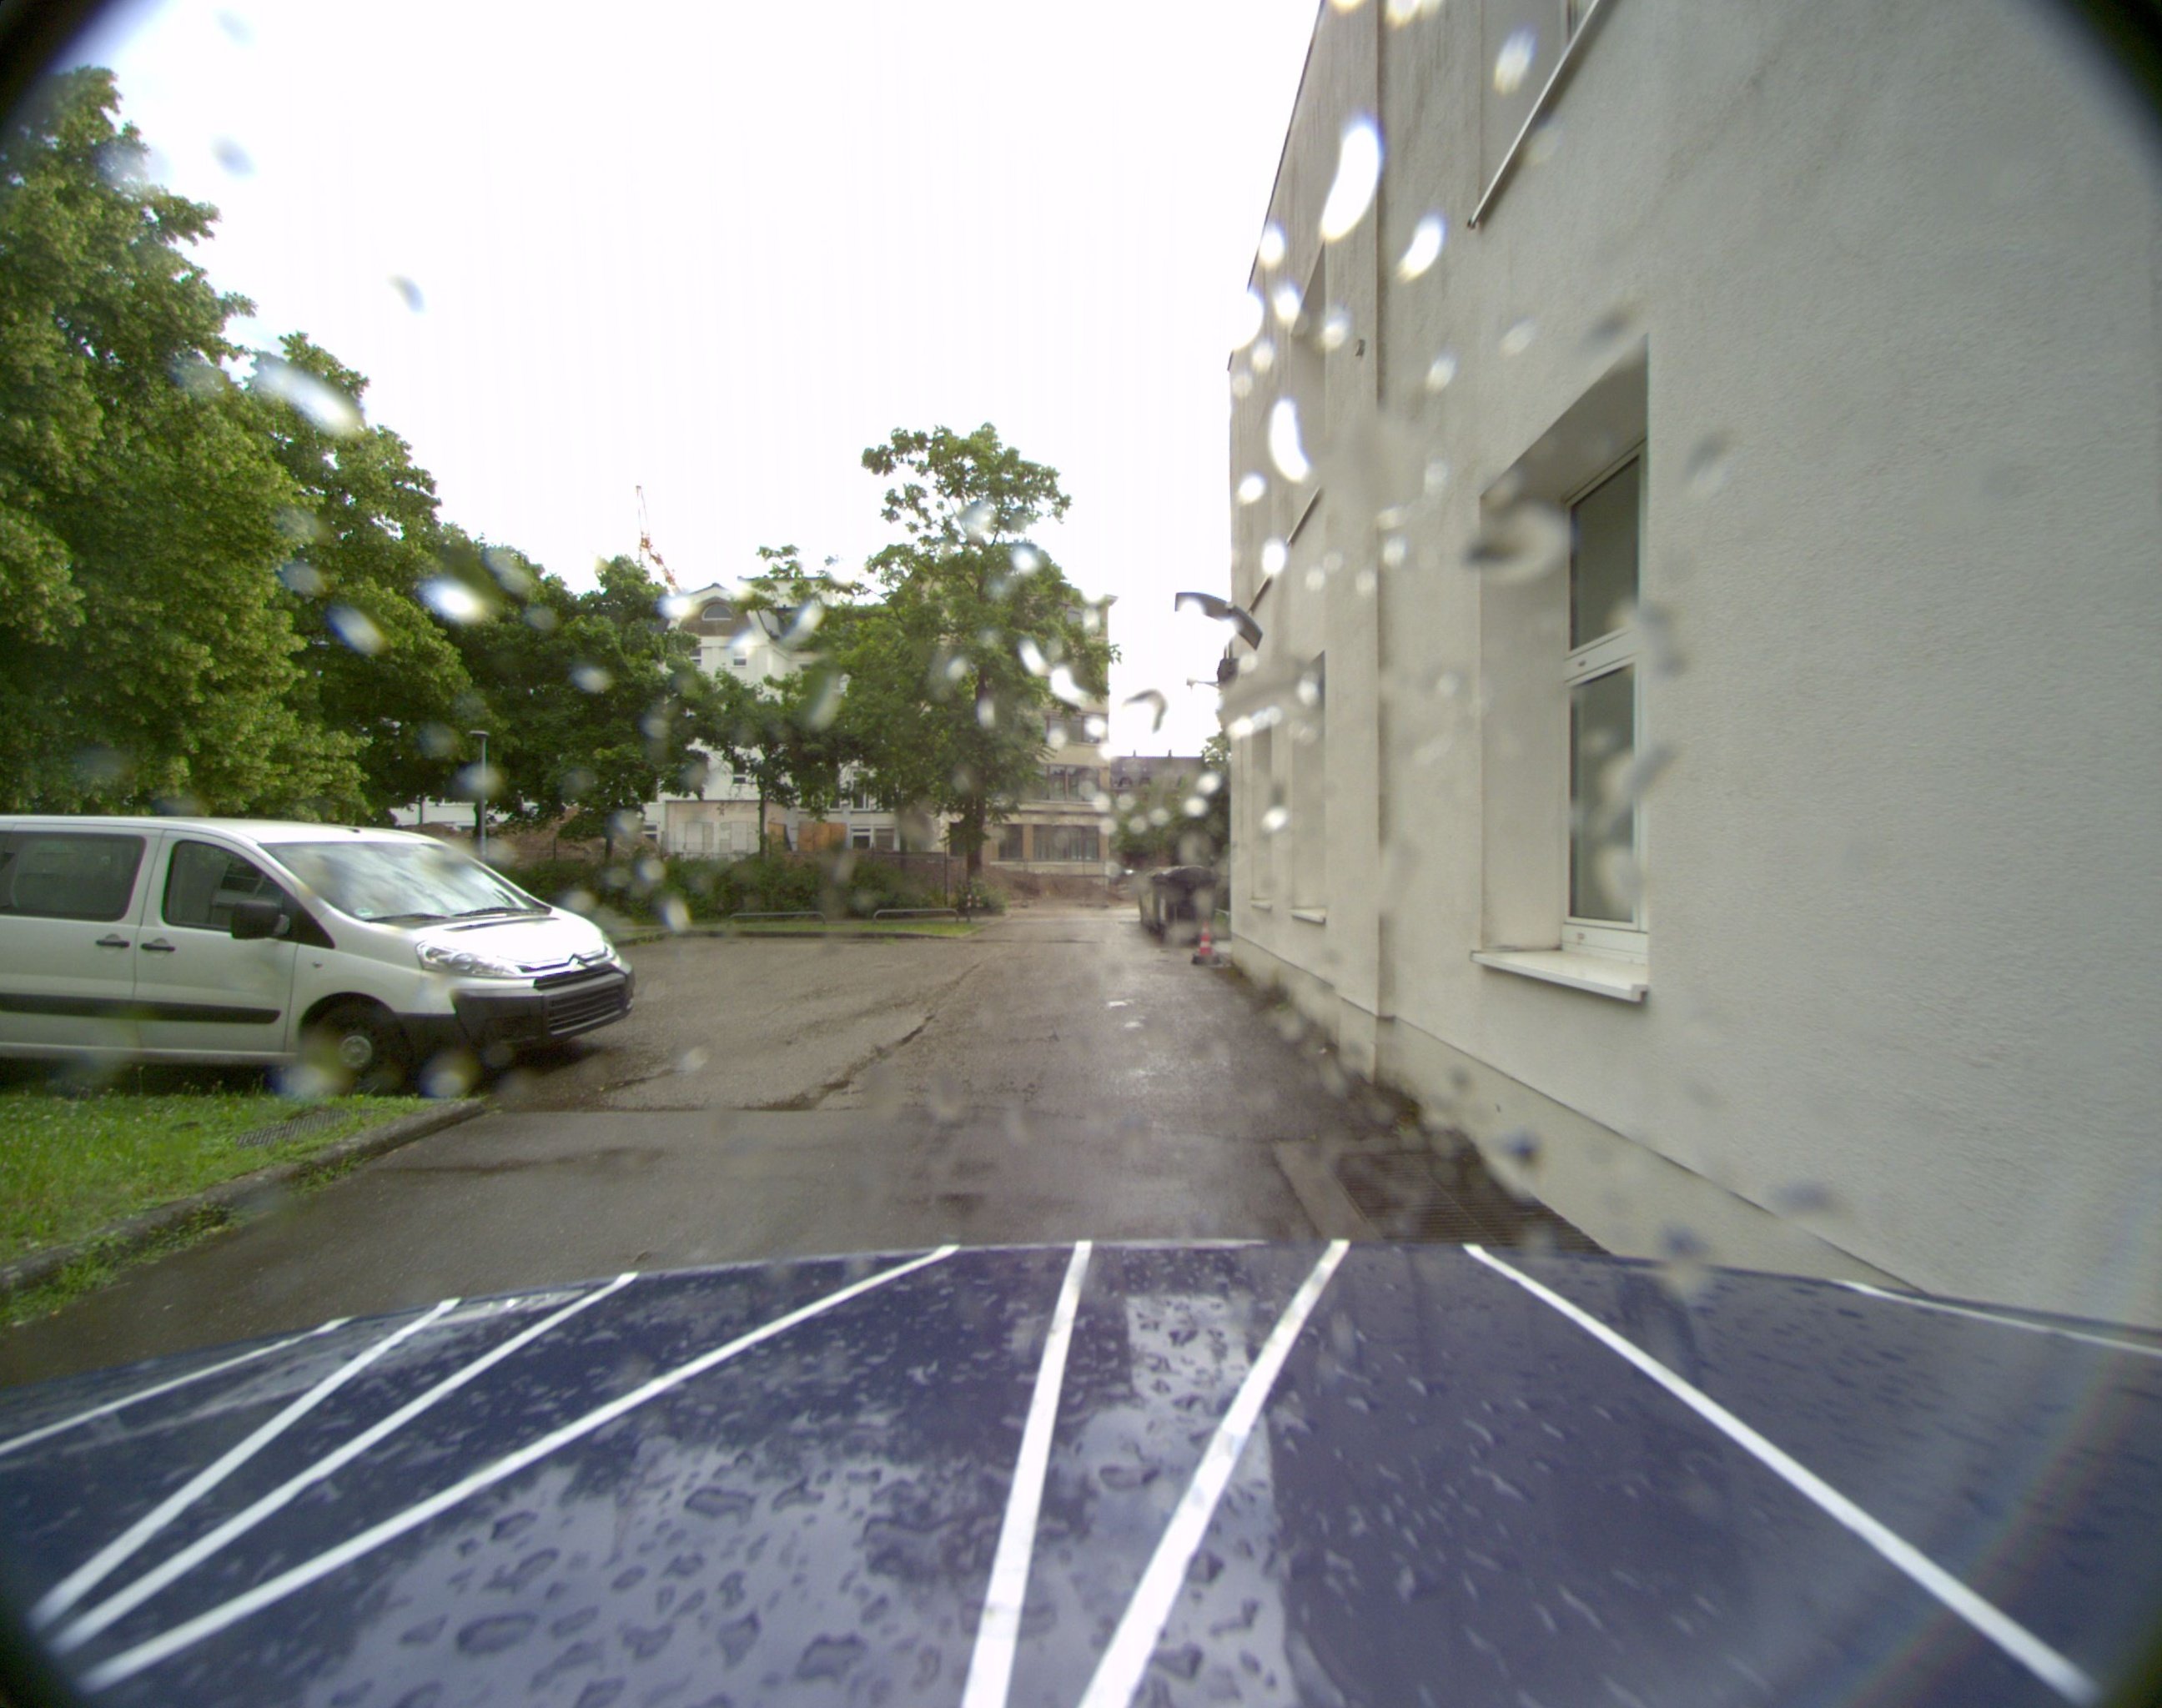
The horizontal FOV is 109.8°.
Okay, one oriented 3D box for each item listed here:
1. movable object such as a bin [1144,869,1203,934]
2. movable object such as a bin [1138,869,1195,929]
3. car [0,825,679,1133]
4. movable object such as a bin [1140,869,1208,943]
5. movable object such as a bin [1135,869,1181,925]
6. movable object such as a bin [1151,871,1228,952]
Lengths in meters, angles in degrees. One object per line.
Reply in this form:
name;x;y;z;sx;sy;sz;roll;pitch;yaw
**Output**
movable object such as a bin;2.170;1.109;18.013;1.167;1.474;1.403;0;-1;-3
movable object such as a bin;2.163;1.135;19.432;1.168;1.474;1.403;0;-2;-5
car;-6.124;0.812;5.906;4.884;1.914;2.100;-1;0;3
movable object such as a bin;1.990;1.096;16.533;1.168;1.474;1.496;2;0;-4
movable object such as a bin;2.151;1.170;20.976;1.103;1.464;1.487;-1;-1;11
movable object such as a bin;2.094;1.096;14.999;1.168;1.474;1.594;2;0;-4
